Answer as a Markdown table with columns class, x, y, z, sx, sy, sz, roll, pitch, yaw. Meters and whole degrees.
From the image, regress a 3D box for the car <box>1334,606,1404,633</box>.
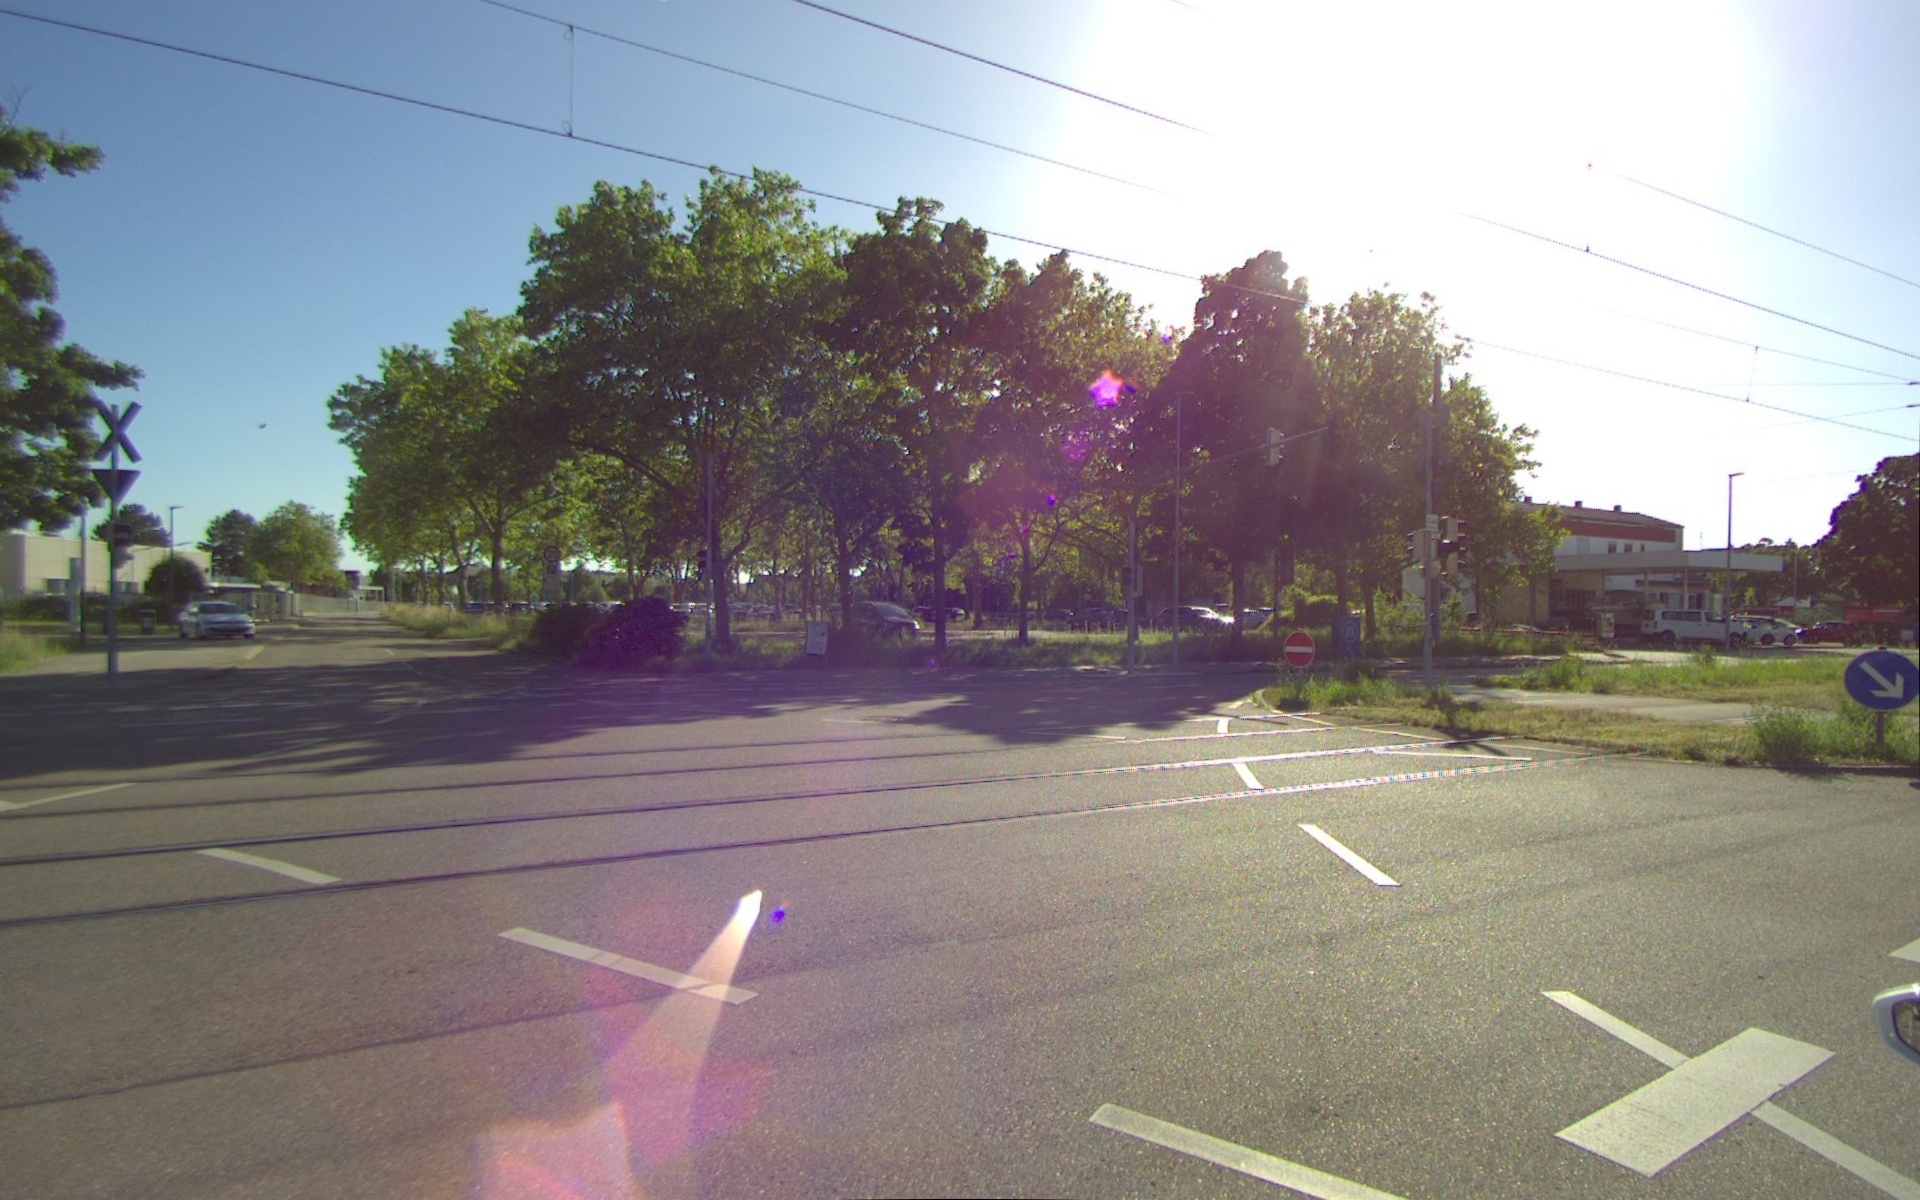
| class | x | y | z | sx | sy | sz | roll | pitch | yaw |
| --- | --- | --- | --- | --- | --- | --- | --- | --- | --- |
| car | 24.571 | 1.192 | 60.289 | 4.033 | 1.565 | 1.572 | 1 | 0 | -25 |

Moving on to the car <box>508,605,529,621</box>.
| class | x | y | z | sx | sy | sz | roll | pitch | yaw |
| --- | --- | --- | --- | --- | --- | --- | --- | --- | --- |
| car | -46.489 | 1.373 | 105.717 | 1.949 | 1.569 | 4.405 | 1 | -1 | -24 |

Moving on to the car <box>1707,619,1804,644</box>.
| class | x | y | z | sx | sy | sz | roll | pitch | yaw |
| --- | --- | --- | --- | --- | --- | --- | --- | --- | --- |
| car | 47.599 | 1.877 | 60.149 | 4.382 | 1.490 | 1.792 | 0 | -1 | 1 |

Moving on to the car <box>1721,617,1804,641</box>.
| class | x | y | z | sx | sy | sz | roll | pitch | yaw |
| --- | --- | --- | --- | --- | --- | --- | --- | --- | --- |
| car | 54.752 | 1.959 | 68.595 | 1.771 | 1.589 | 4.051 | 0 | -1 | -30 |

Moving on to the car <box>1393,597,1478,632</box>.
| class | x | y | z | sx | sy | sz | roll | pitch | yaw |
| --- | --- | --- | --- | --- | --- | --- | --- | --- | --- |
| car | 30.443 | 0.940 | 64.431 | 1.996 | 2.119 | 4.700 | 0 | -1 | -29 |

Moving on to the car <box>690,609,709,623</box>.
| class | x | y | z | sx | sy | sz | roll | pitch | yaw |
| --- | --- | --- | --- | --- | --- | --- | --- | --- | --- |
| car | -30.844 | 1.894 | 119.113 | 1.955 | 1.569 | 4.421 | 1 | -1 | -12 |

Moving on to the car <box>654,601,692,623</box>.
| class | x | y | z | sx | sy | sz | roll | pitch | yaw |
| --- | --- | --- | --- | --- | --- | --- | --- | --- | --- |
| car | -23.432 | 0.984 | 81.926 | 1.813 | 1.690 | 3.960 | 1 | 0 | -36 |

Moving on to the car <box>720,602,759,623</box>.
| class | x | y | z | sx | sy | sz | roll | pitch | yaw |
| --- | --- | --- | --- | --- | --- | --- | --- | --- | --- |
| car | -18.478 | 1.012 | 84.078 | 1.813 | 1.690 | 3.960 | 1 | 0 | -36 |

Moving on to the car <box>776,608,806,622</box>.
| class | x | y | z | sx | sy | sz | roll | pitch | yaw |
| --- | --- | --- | --- | --- | --- | --- | --- | --- | --- |
| car | -17.427 | 1.534 | 103.708 | 1.648 | 1.451 | 3.942 | 1 | 0 | -33 |

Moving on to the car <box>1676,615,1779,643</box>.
| class | x | y | z | sx | sy | sz | roll | pitch | yaw |
| --- | --- | --- | --- | --- | --- | --- | --- | --- | --- |
| car | 44.108 | 1.649 | 57.803 | 4.380 | 1.548 | 1.793 | 0 | -1 | 10 |

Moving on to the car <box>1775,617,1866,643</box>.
| class | x | y | z | sx | sy | sz | roll | pitch | yaw |
| --- | --- | --- | --- | --- | --- | --- | --- | --- | --- |
| car | 54.578 | 1.890 | 63.770 | 1.771 | 1.589 | 4.051 | 0 | -1 | -30 |

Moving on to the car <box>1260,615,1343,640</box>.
| class | x | y | z | sx | sy | sz | roll | pitch | yaw |
| --- | --- | --- | --- | --- | --- | --- | --- | --- | --- |
| car | 17.694 | 1.395 | 52.125 | 1.647 | 1.182 | 3.943 | 1 | 0 | -32 |

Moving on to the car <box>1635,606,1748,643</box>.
| class | x | y | z | sx | sy | sz | roll | pitch | yaw |
| --- | --- | --- | --- | --- | --- | --- | --- | --- | --- |
| car | 40.432 | 1.357 | 55.616 | 4.689 | 2.000 | 1.862 | 0 | -1 | 10 |

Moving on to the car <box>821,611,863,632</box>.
| class | x | y | z | sx | sy | sz | roll | pitch | yaw |
| --- | --- | --- | --- | --- | --- | --- | --- | --- | --- |
| car | -9.124 | 1.641 | 77.357 | 1.727 | 1.468 | 3.942 | 1 | 0 | -33 |

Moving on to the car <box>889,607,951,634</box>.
| class | x | y | z | sx | sy | sz | roll | pitch | yaw |
| --- | --- | --- | --- | --- | --- | --- | --- | --- | --- |
| car | -2.257 | 1.118 | 55.731 | 1.648 | 1.451 | 3.942 | 1 | 0 | -33 |

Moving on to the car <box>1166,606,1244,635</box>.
| class | x | y | z | sx | sy | sz | roll | pitch | yaw |
| --- | --- | --- | --- | --- | --- | --- | --- | --- | --- |
| car | 12.735 | 1.072 | 52.423 | 1.648 | 1.451 | 3.943 | 0 | -1 | -33 |

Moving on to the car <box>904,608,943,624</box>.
| class | x | y | z | sx | sy | sz | roll | pitch | yaw |
| --- | --- | --- | --- | --- | --- | --- | --- | --- | --- |
| car | -3.375 | 1.487 | 92.918 | 1.828 | 1.451 | 3.942 | 1 | 0 | -33 |

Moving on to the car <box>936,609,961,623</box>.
| class | x | y | z | sx | sy | sz | roll | pitch | yaw |
| --- | --- | --- | --- | --- | --- | --- | --- | --- | --- |
| car | -1.266 | 1.798 | 112.218 | 1.955 | 1.569 | 4.421 | 1 | -1 | -12 |

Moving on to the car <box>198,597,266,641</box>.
| class | x | y | z | sx | sy | sz | roll | pitch | yaw |
| --- | --- | --- | --- | --- | --- | --- | --- | --- | --- |
| car | -29.100 | 0.729 | 40.108 | 1.973 | 1.662 | 4.381 | 1 | -1 | -39 |

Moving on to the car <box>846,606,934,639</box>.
| class | x | y | z | sx | sy | sz | roll | pitch | yaw |
| --- | --- | --- | --- | --- | --- | --- | --- | --- | --- |
| car | -3.088 | 0.959 | 43.811 | 1.859 | 1.400 | 3.952 | 1 | -1 | -41 |
